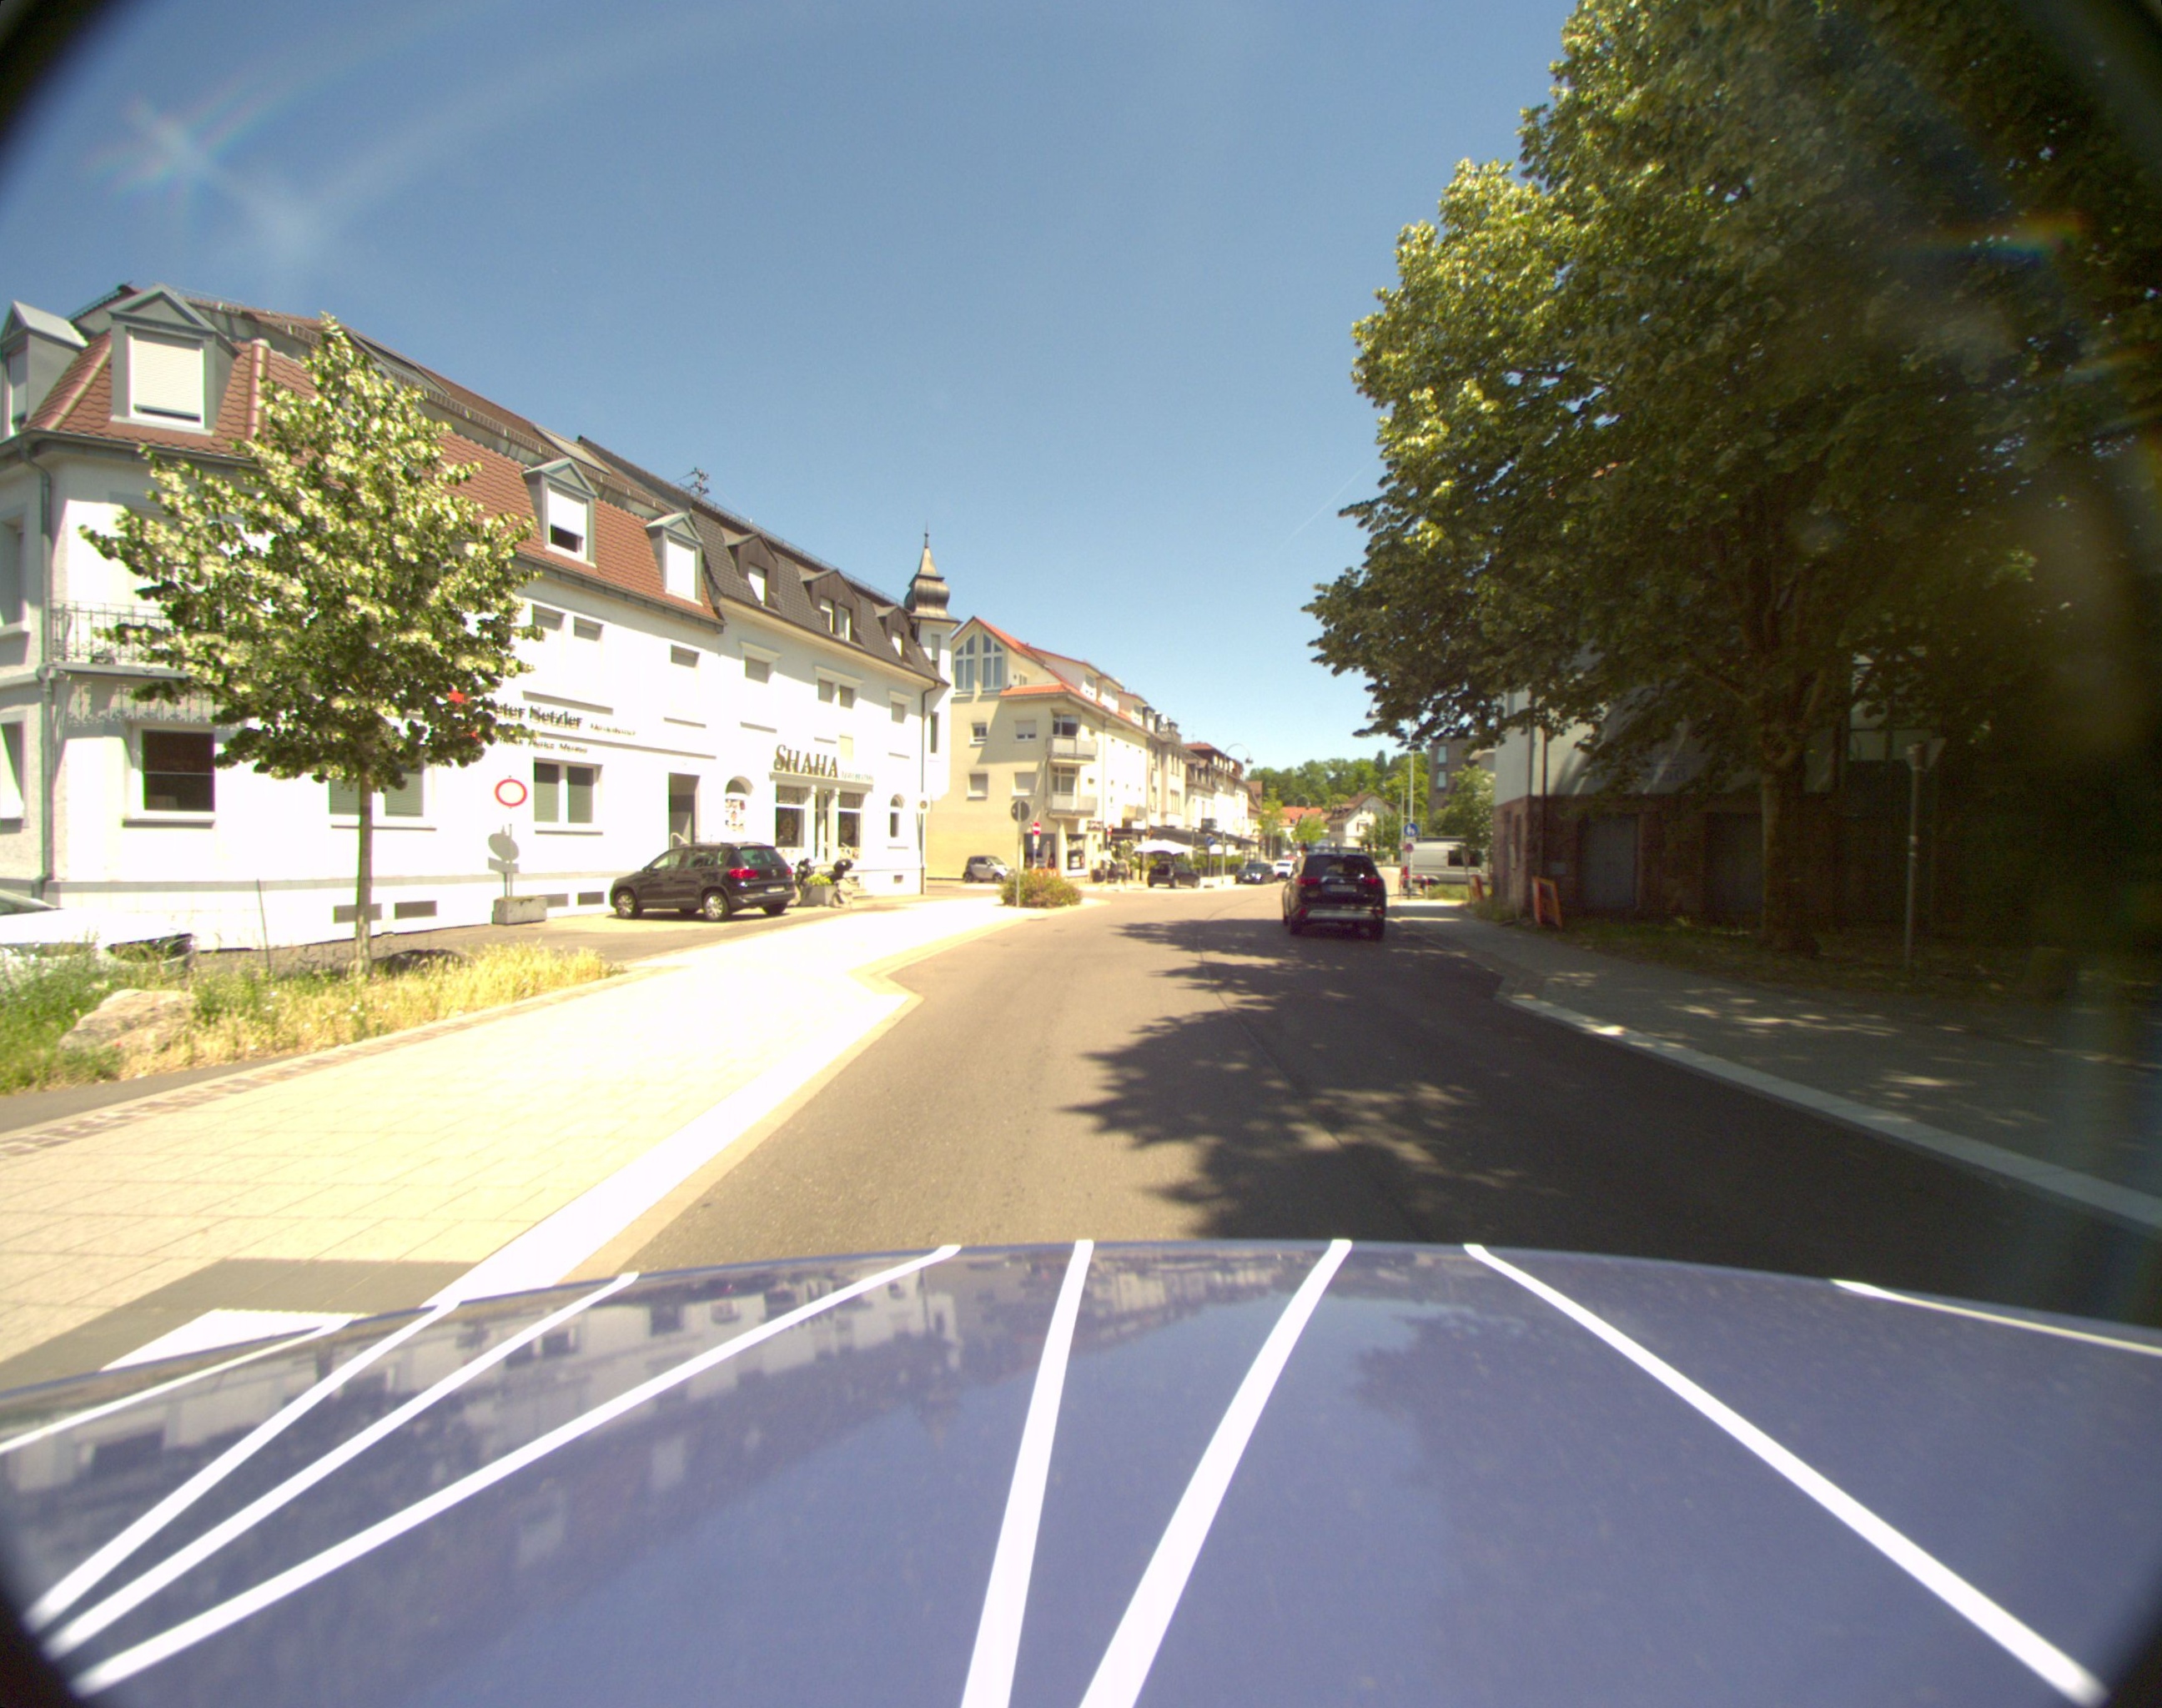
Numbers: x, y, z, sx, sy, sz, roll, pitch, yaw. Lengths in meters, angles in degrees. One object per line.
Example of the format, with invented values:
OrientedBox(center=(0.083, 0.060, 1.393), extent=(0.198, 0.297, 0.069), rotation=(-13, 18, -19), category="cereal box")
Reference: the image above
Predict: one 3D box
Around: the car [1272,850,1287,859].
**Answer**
OrientedBox(center=(34.813, 0.111, 133.201), extent=(1.734, 1.465, 4.324), rotation=(3, 1, 4), category="car")

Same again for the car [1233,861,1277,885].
OrientedBox(center=(11.713, 1.247, 50.918), extent=(1.725, 1.397, 4.617), rotation=(2, 1, 27), category="car")

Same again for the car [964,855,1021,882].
OrientedBox(center=(-4.943, 0.783, 42.597), extent=(2.730, 1.463, 1.533), rotation=(0, 1, 22), category="car")

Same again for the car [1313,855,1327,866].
OrientedBox(center=(40.532, 1.067, 128.811), extent=(1.813, 1.691, 4.079), rotation=(1, 1, 12), category="car")

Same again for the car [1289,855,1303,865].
OrientedBox(center=(33.941, 0.922, 120.037), extent=(1.680, 1.505, 3.392), rotation=(1, 1, 23), category="car")

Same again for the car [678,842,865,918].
OrientedBox(center=(-7.632, 0.598, 18.759), extent=(4.079, 1.706, 1.859), rotation=(0, 1, 21), category="car")

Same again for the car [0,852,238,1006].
OrientedBox(center=(-11.320, 0.734, 7.135), extent=(4.205, 1.341, 1.859), rotation=(-1, -3, -14), category="car")

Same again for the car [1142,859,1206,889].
OrientedBox(center=(5.153, 1.077, 41.802), extent=(1.872, 1.483, 3.870), rotation=(3, 1, 34), category="car")

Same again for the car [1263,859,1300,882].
OrientedBox(center=(15.187, 1.214, 57.399), extent=(1.738, 1.478, 4.061), rotation=(4, 2, 28), category="car")

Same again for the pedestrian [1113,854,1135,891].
OrientedBox(center=(2.128, 0.910, 37.673), extent=(0.746, 1.785, 0.845), rotation=(1, -1, 30), category="pedestrian")

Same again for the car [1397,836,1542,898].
OrientedBox(center=(17.820, 0.582, 35.208), extent=(5.772, 2.716, 2.295), rotation=(-1, 1, 24), category="car")

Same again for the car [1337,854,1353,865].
OrientedBox(center=(37.357, 0.775, 107.690), extent=(1.896, 1.544, 4.804), rotation=(0, 0, 15), category="car")

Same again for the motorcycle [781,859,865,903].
OrientedBox(center=(-7.670, 0.775, 22.579), extent=(2.379, 1.268, 0.857), rotation=(0, 0, 22), category="motorcycle")

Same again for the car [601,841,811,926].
OrientedBox(center=(-8.251, 0.598, 16.773), extent=(4.079, 1.706, 1.859), rotation=(0, 1, 21), category="car")

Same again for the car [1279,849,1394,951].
OrientedBox(center=(5.195, 0.836, 15.991), extent=(1.743, 1.762, 4.342), rotation=(2, 0, 12), category="car")
